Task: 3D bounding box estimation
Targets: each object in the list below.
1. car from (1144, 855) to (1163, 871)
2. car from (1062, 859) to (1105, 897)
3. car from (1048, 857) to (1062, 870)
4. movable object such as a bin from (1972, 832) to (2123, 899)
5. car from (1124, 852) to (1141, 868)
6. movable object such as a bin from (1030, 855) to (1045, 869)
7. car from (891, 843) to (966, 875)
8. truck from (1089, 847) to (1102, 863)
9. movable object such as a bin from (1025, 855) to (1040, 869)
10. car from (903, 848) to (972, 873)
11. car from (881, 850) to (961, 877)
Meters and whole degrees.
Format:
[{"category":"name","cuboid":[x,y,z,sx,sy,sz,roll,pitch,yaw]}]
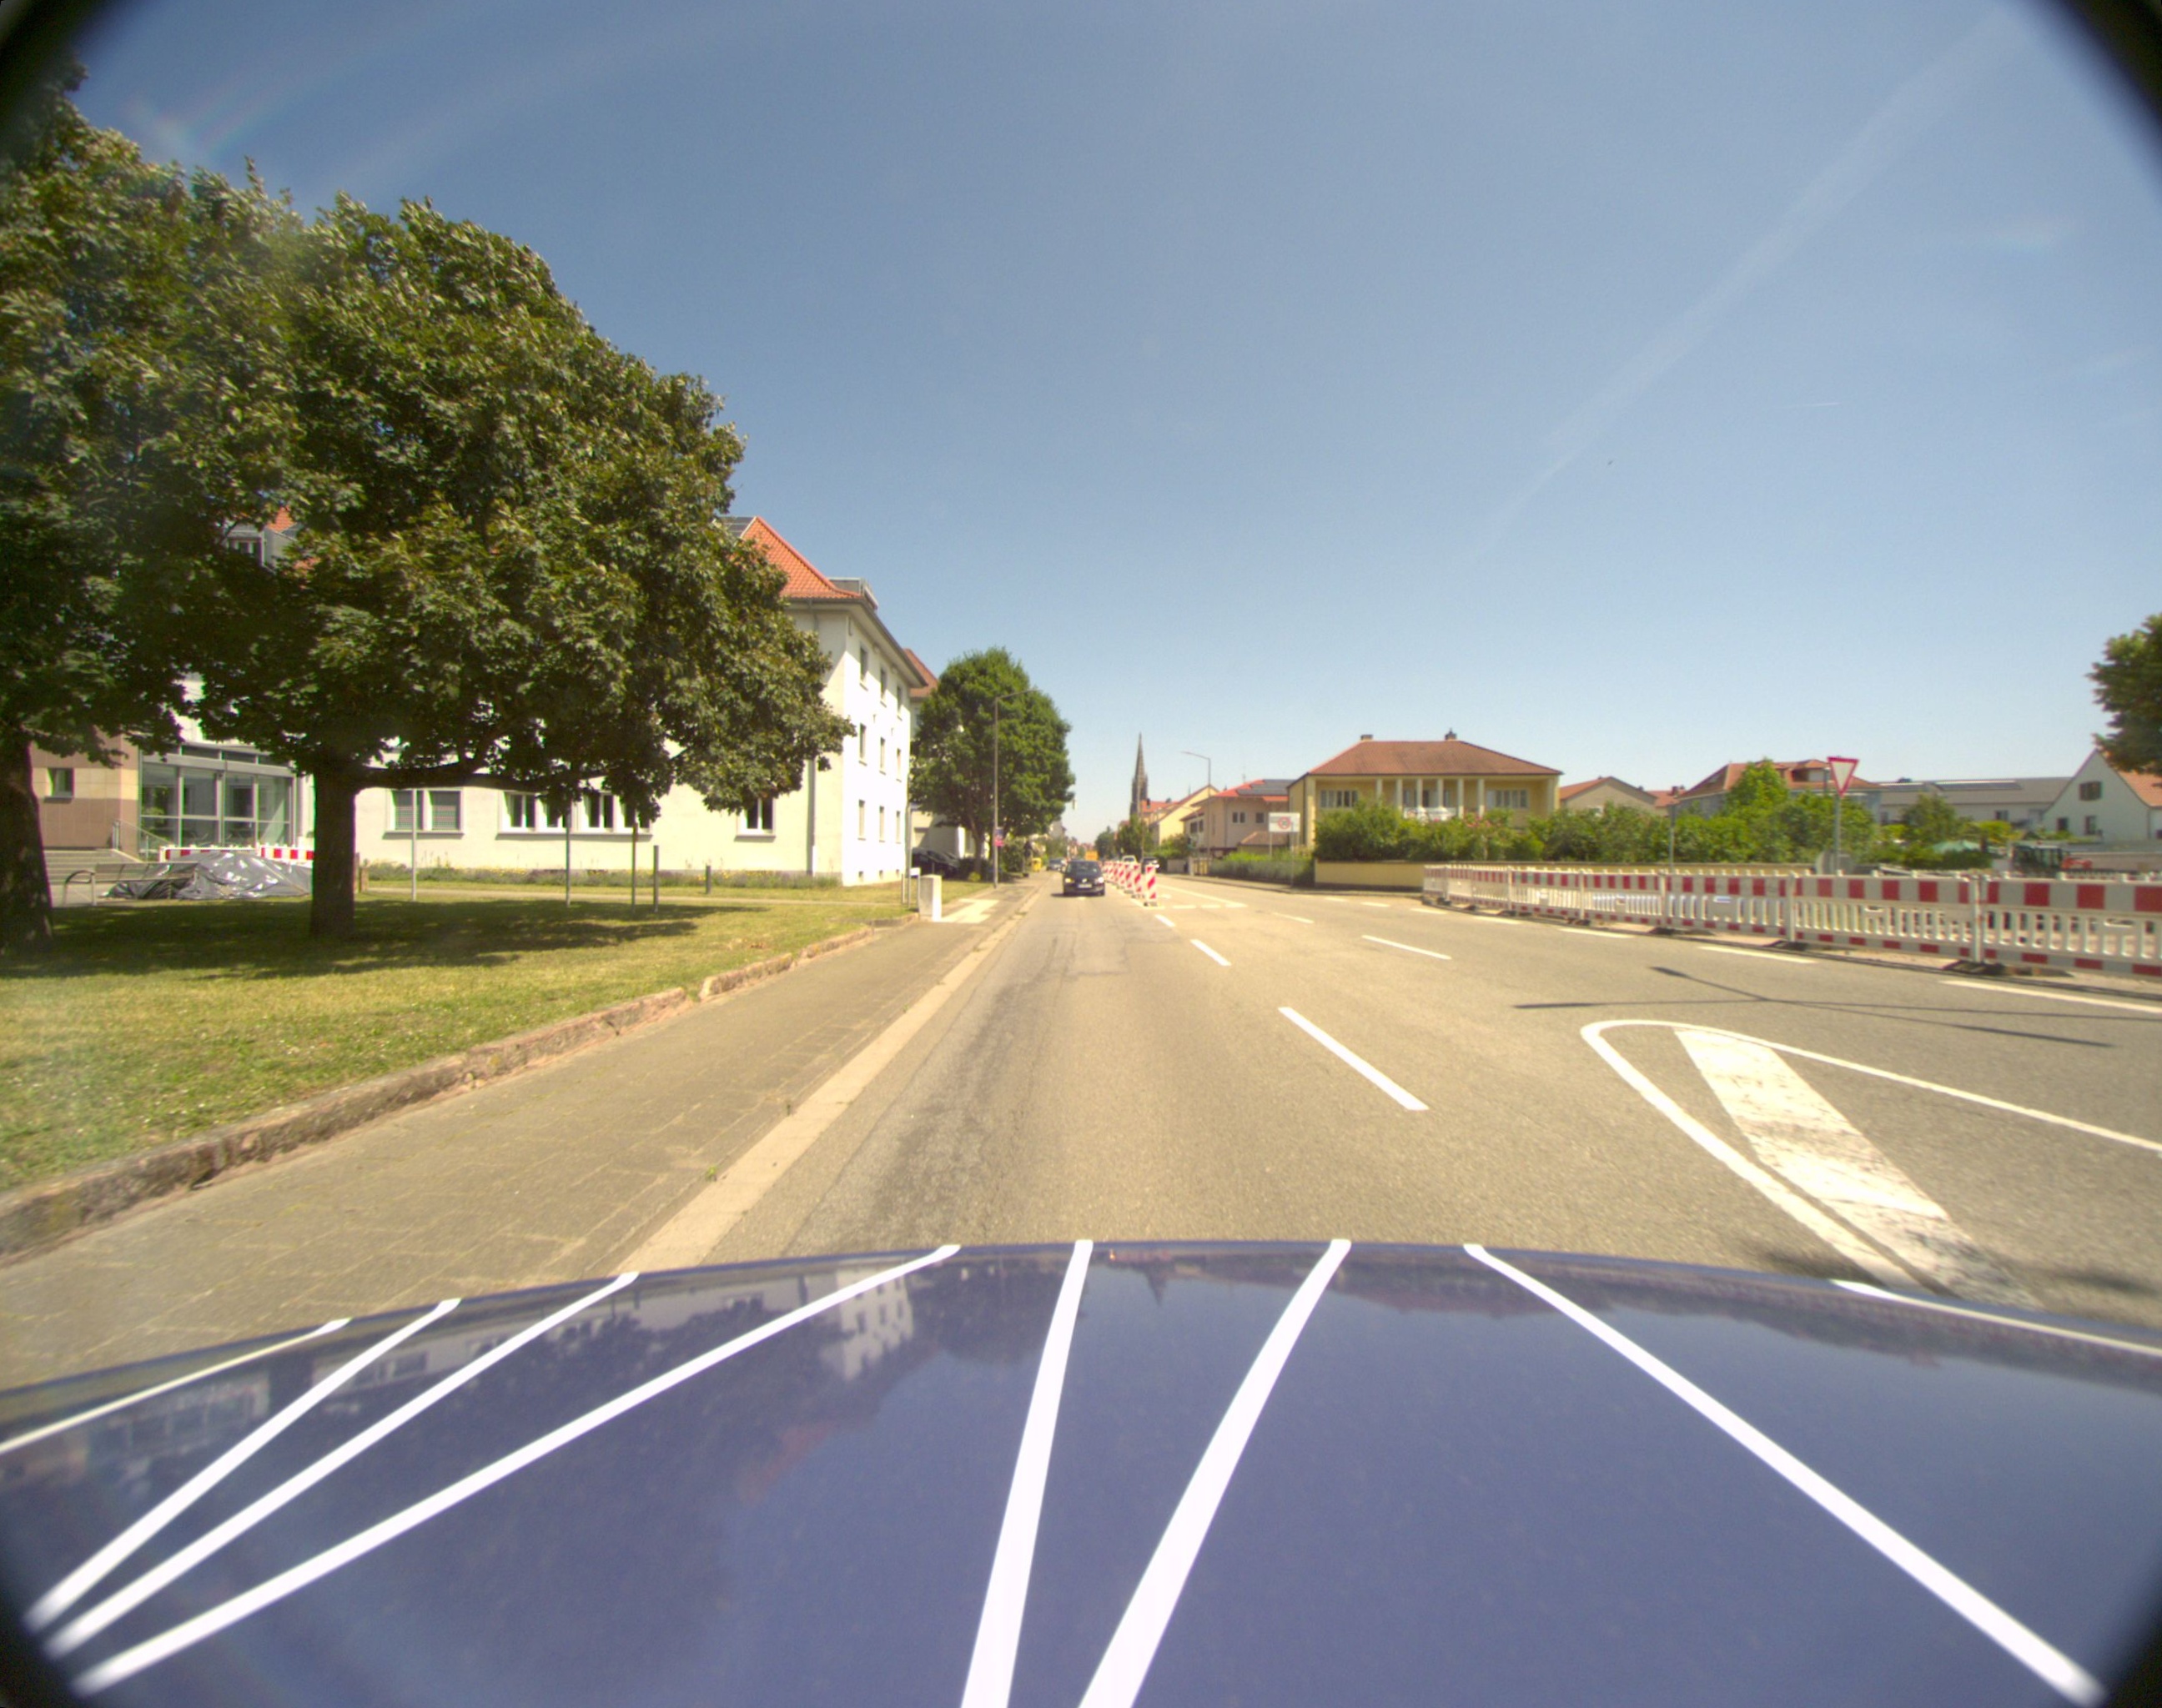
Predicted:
[{"category":"car","cuboid":[6.952,0.848,73.008,1.390,1.568,3.320,1,0,-2]},{"category":"car","cuboid":[0.133,0.938,31.131,1.607,1.436,3.909,-1,0,1]},{"category":"car","cuboid":[-3.016,1.068,88.899,1.607,1.403,3.909,-1,0,-1]},{"category":"movable object such as a bin","cuboid":[41.847,0.473,33.067,2.273,2.719,3.936,1,0,20]},{"category":"car","cuboid":[6.245,0.716,92.948,1.719,1.776,3.889,1,0,-2]},{"category":"movable object such as a bin","cuboid":[-4.610,0.835,80.399,1.499,1.472,1.422,1,0,-2]},{"category":"car","cuboid":[-9.585,0.325,48.121,4.367,1.776,1.999,2,0,-3]},{"category":"truck","cuboid":[2.796,0.201,145.503,2.222,2.920,5.350,1,0,-2]},{"category":"movable object such as a bin","cuboid":[-5.049,0.837,78.780,1.499,1.472,1.422,1,0,-2]},{"category":"car","cuboid":[-9.677,0.426,51.515,4.367,1.517,1.999,2,0,-3]},{"category":"car","cuboid":[-9.474,0.547,45.379,4.367,1.427,1.999,2,0,-3]}]
